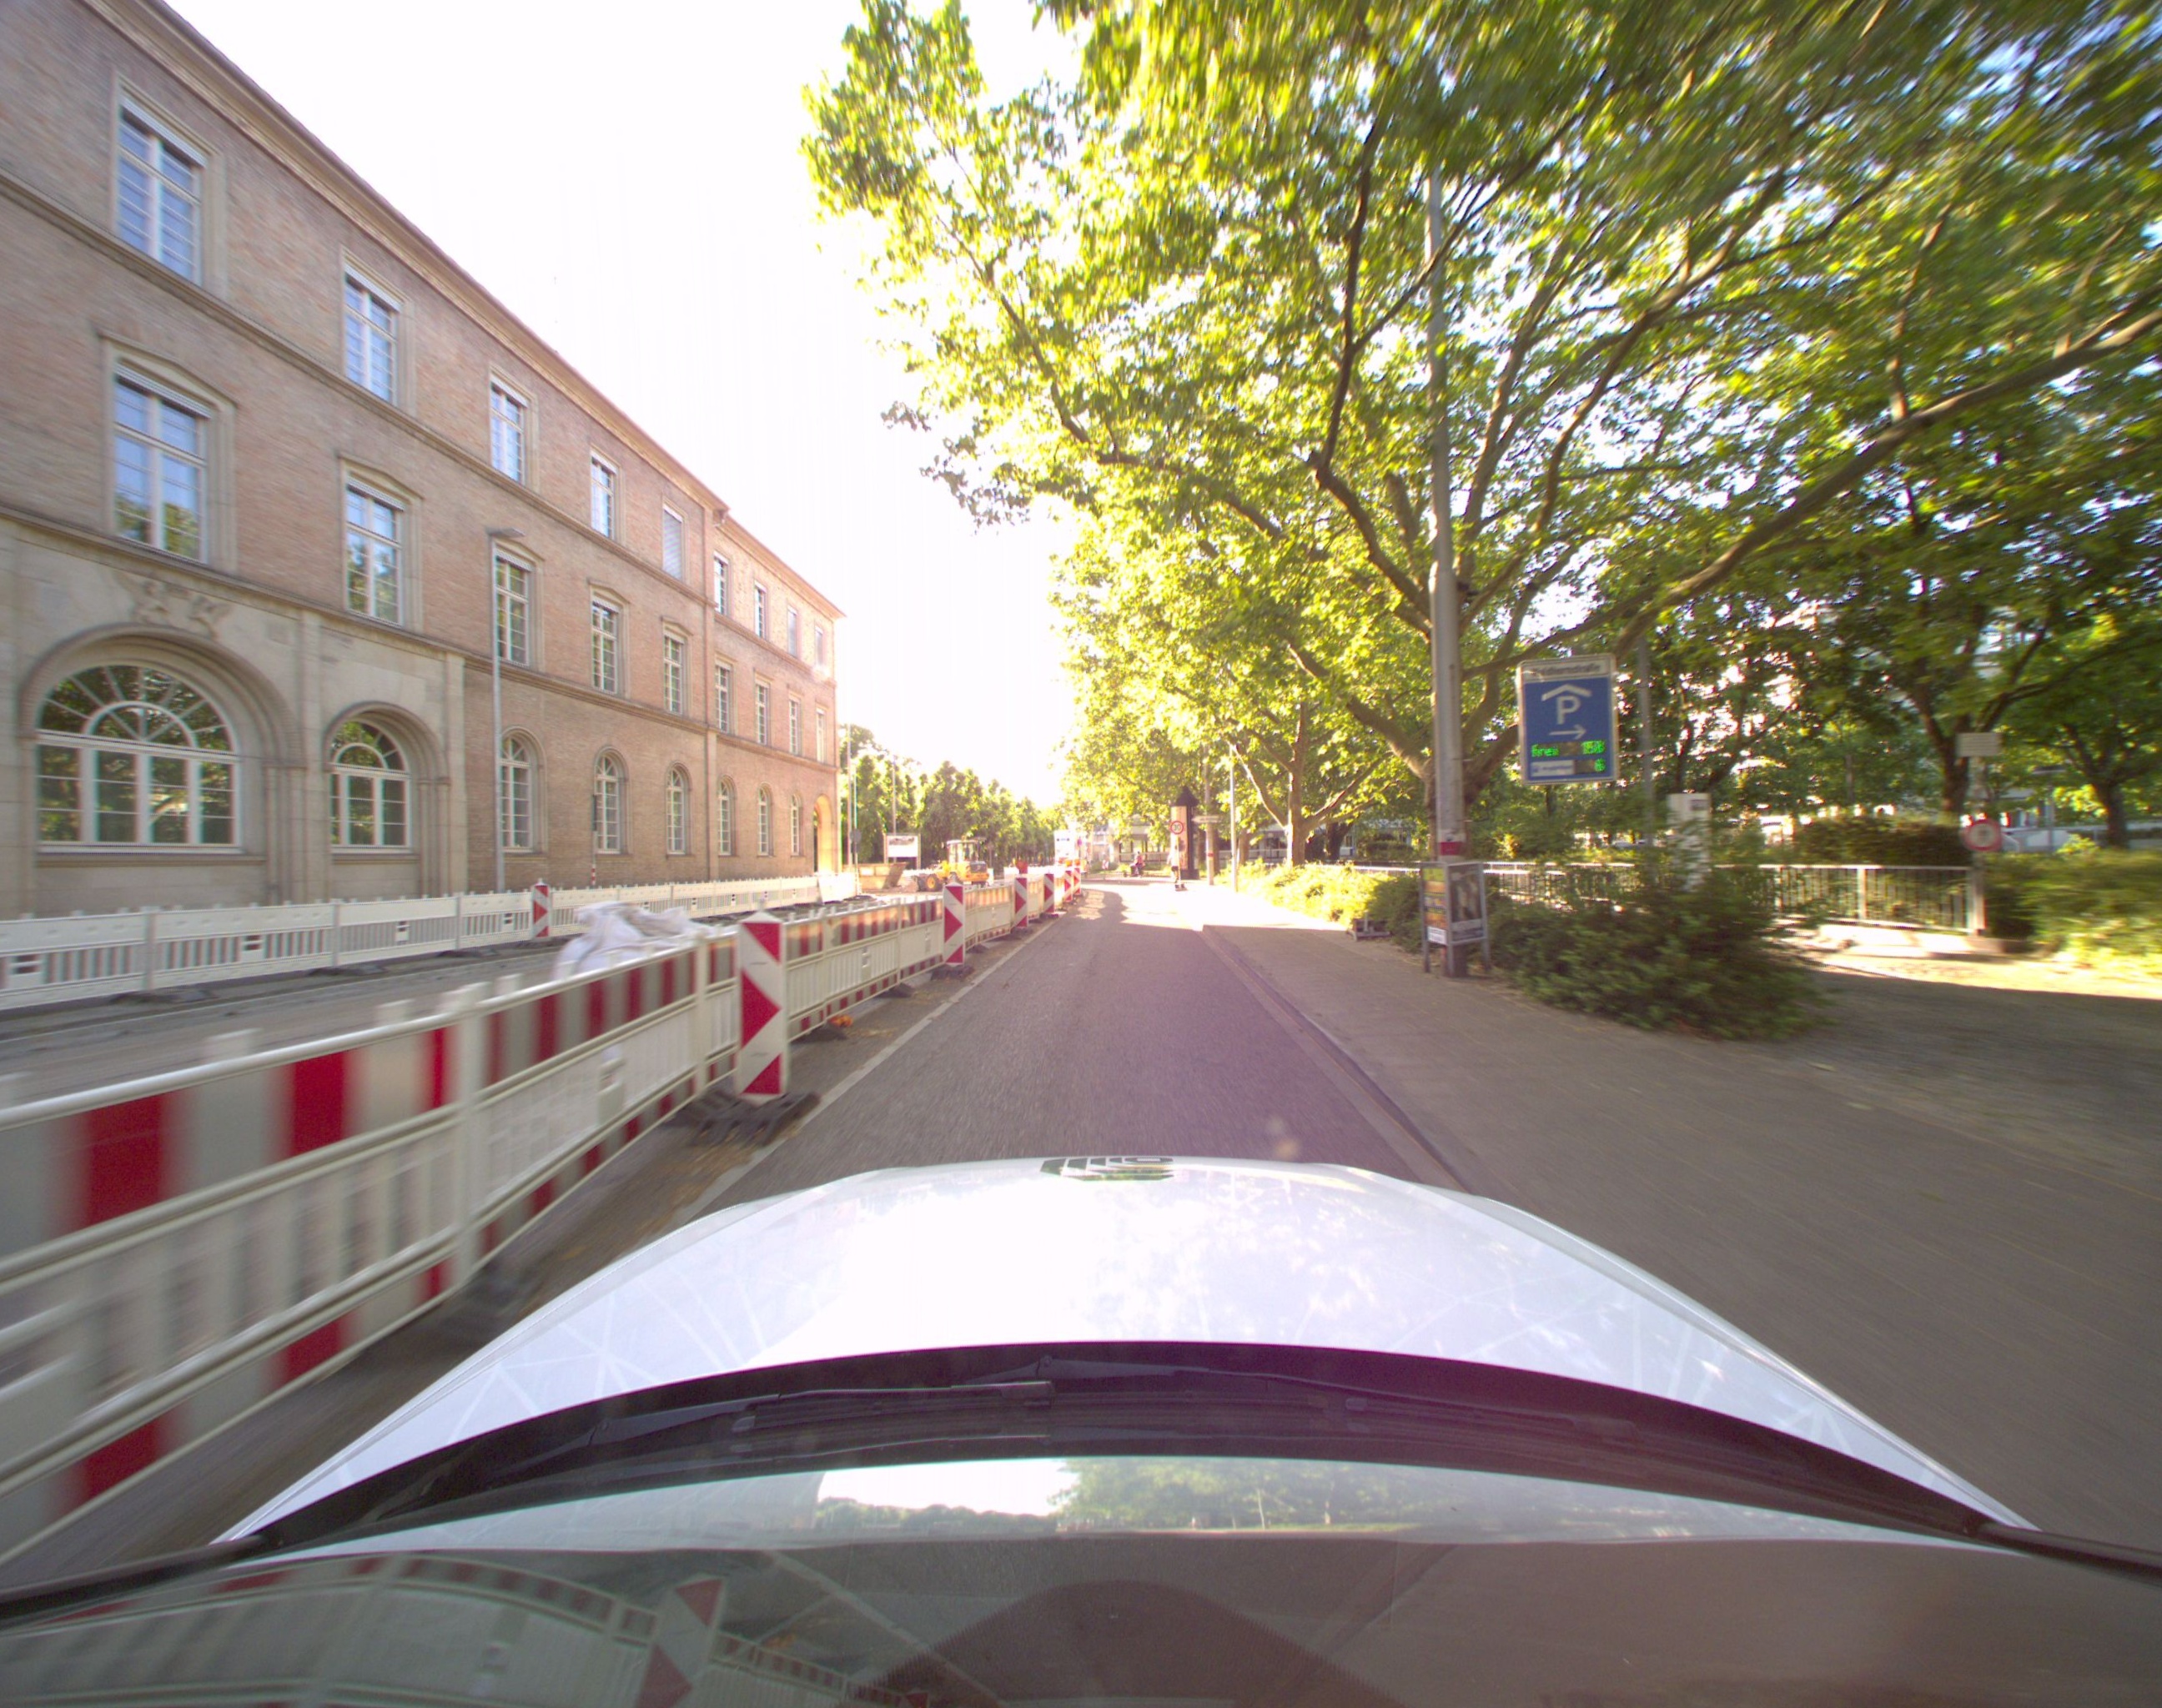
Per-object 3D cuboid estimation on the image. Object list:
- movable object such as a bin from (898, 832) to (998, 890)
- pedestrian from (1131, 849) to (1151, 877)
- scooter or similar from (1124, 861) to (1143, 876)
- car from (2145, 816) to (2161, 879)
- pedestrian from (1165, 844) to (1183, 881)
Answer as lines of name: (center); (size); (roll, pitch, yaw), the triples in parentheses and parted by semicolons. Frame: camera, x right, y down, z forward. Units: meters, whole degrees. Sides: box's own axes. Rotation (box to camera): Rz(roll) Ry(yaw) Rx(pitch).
movable object such as a bin: (-7.486, 0.435, 45.429); (2.582, 3.031, 5.858); (-2, -1, -43)
pedestrian: (3.509, 0.521, 47.564); (0.712, 1.623, 0.930); (-1, -1, -28)
scooter or similar: (3.414, 0.981, 53.336); (1.145, 0.914, 0.419); (-3, -2, -5)
car: (28.842, -0.208, 19.380); (1.753, 1.626, 3.998); (-2, 0, -1)
pedestrian: (4.622, 0.427, 40.362); (0.743, 1.813, 1.133); (0, -1, -2)
